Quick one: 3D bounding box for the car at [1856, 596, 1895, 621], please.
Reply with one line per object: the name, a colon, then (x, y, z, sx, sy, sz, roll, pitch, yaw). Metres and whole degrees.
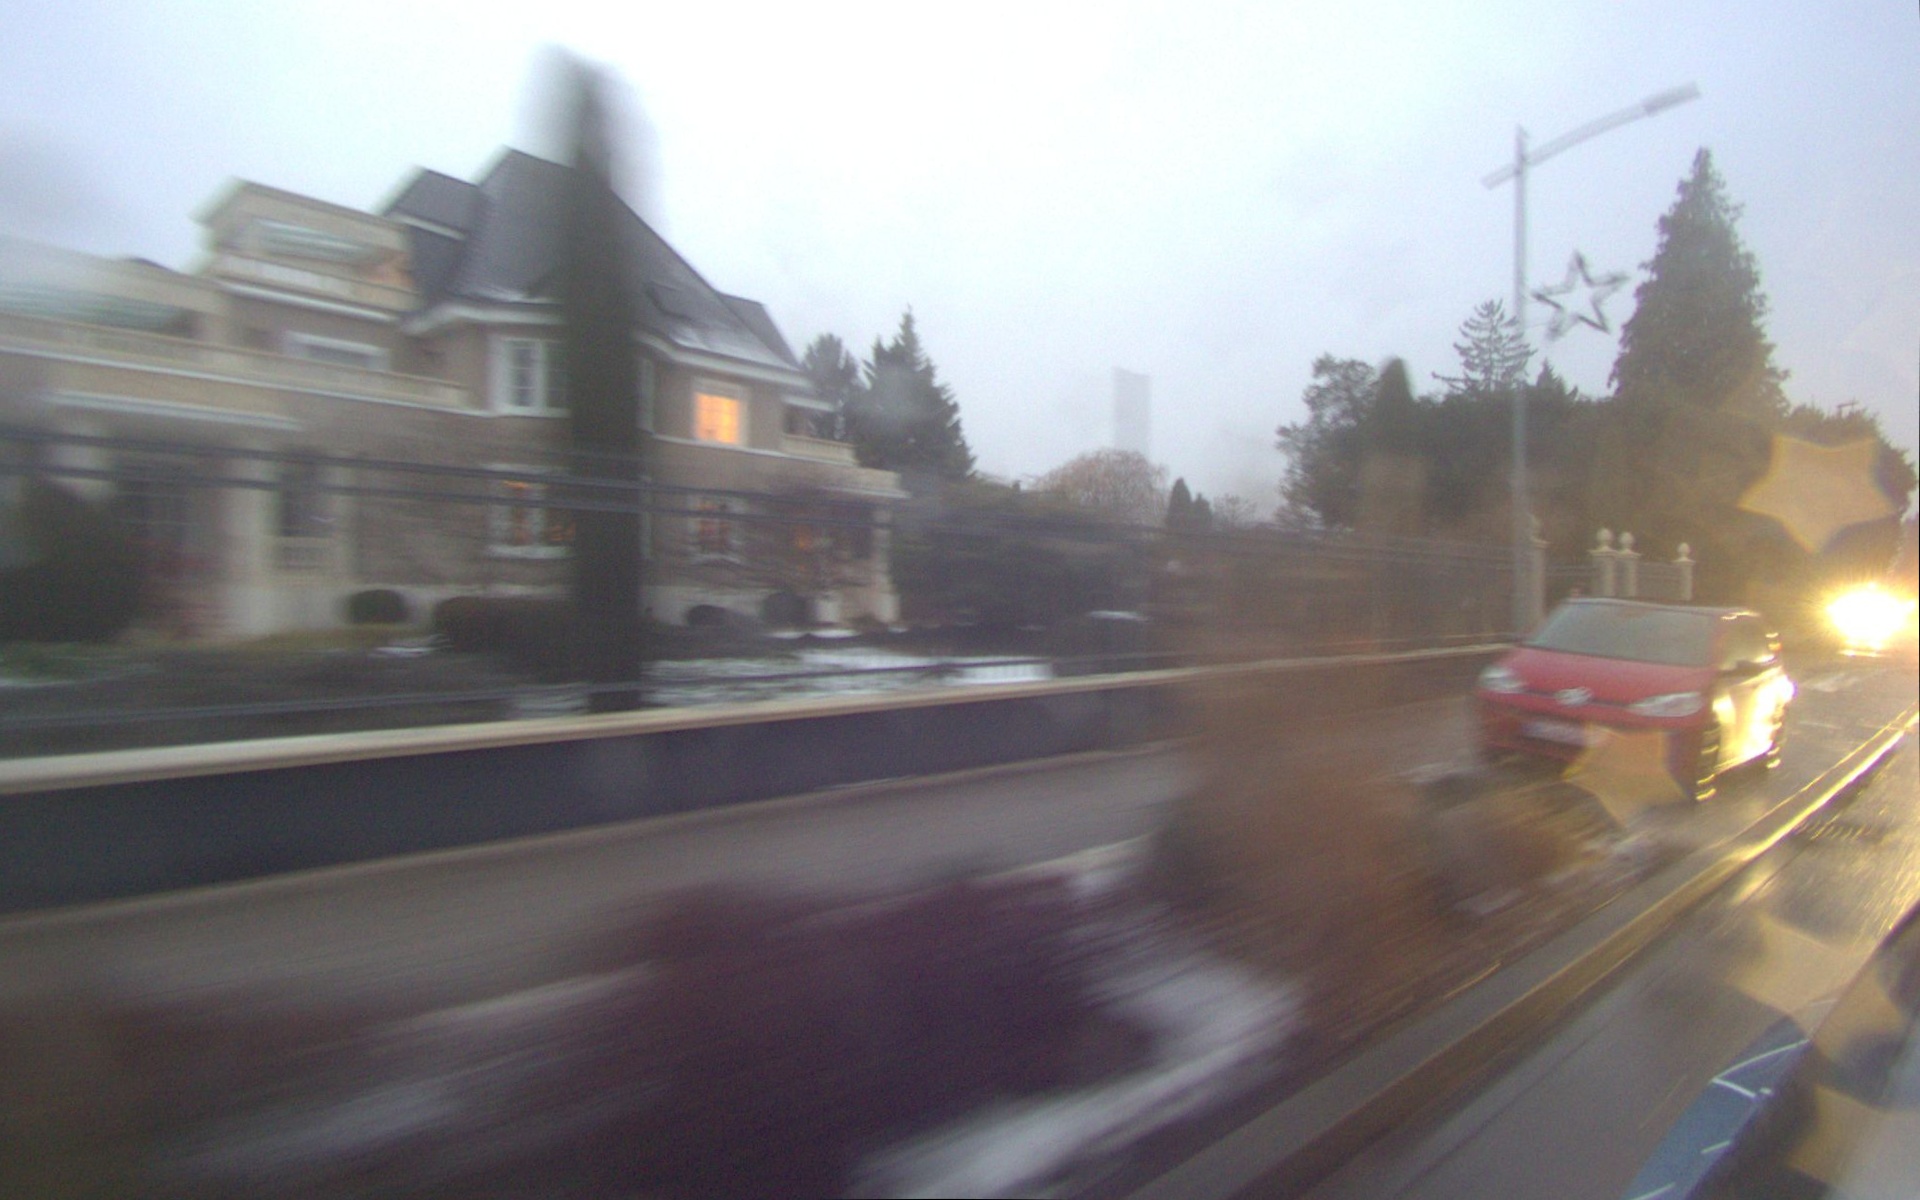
car: (64.694, 0.581, 71.580, 1.768, 1.638, 3.819, -1, 0, 39)

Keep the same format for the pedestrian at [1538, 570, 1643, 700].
pedestrian: (9.089, 0.462, 14.582, 1.038, 1.763, 0.989, 0, 2, -42)

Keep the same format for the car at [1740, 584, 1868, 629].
car: (38.288, 0.271, 46.068, 4.314, 1.753, 1.973, 4, 2, 37)

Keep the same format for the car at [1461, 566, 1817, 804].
car: (5.902, 0.625, 8.677, 3.331, 1.558, 1.653, 3, 2, -41)

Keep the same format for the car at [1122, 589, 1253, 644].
car: (6.410, 0.400, 28.296, 1.806, 1.392, 3.936, 1, 1, 45)
